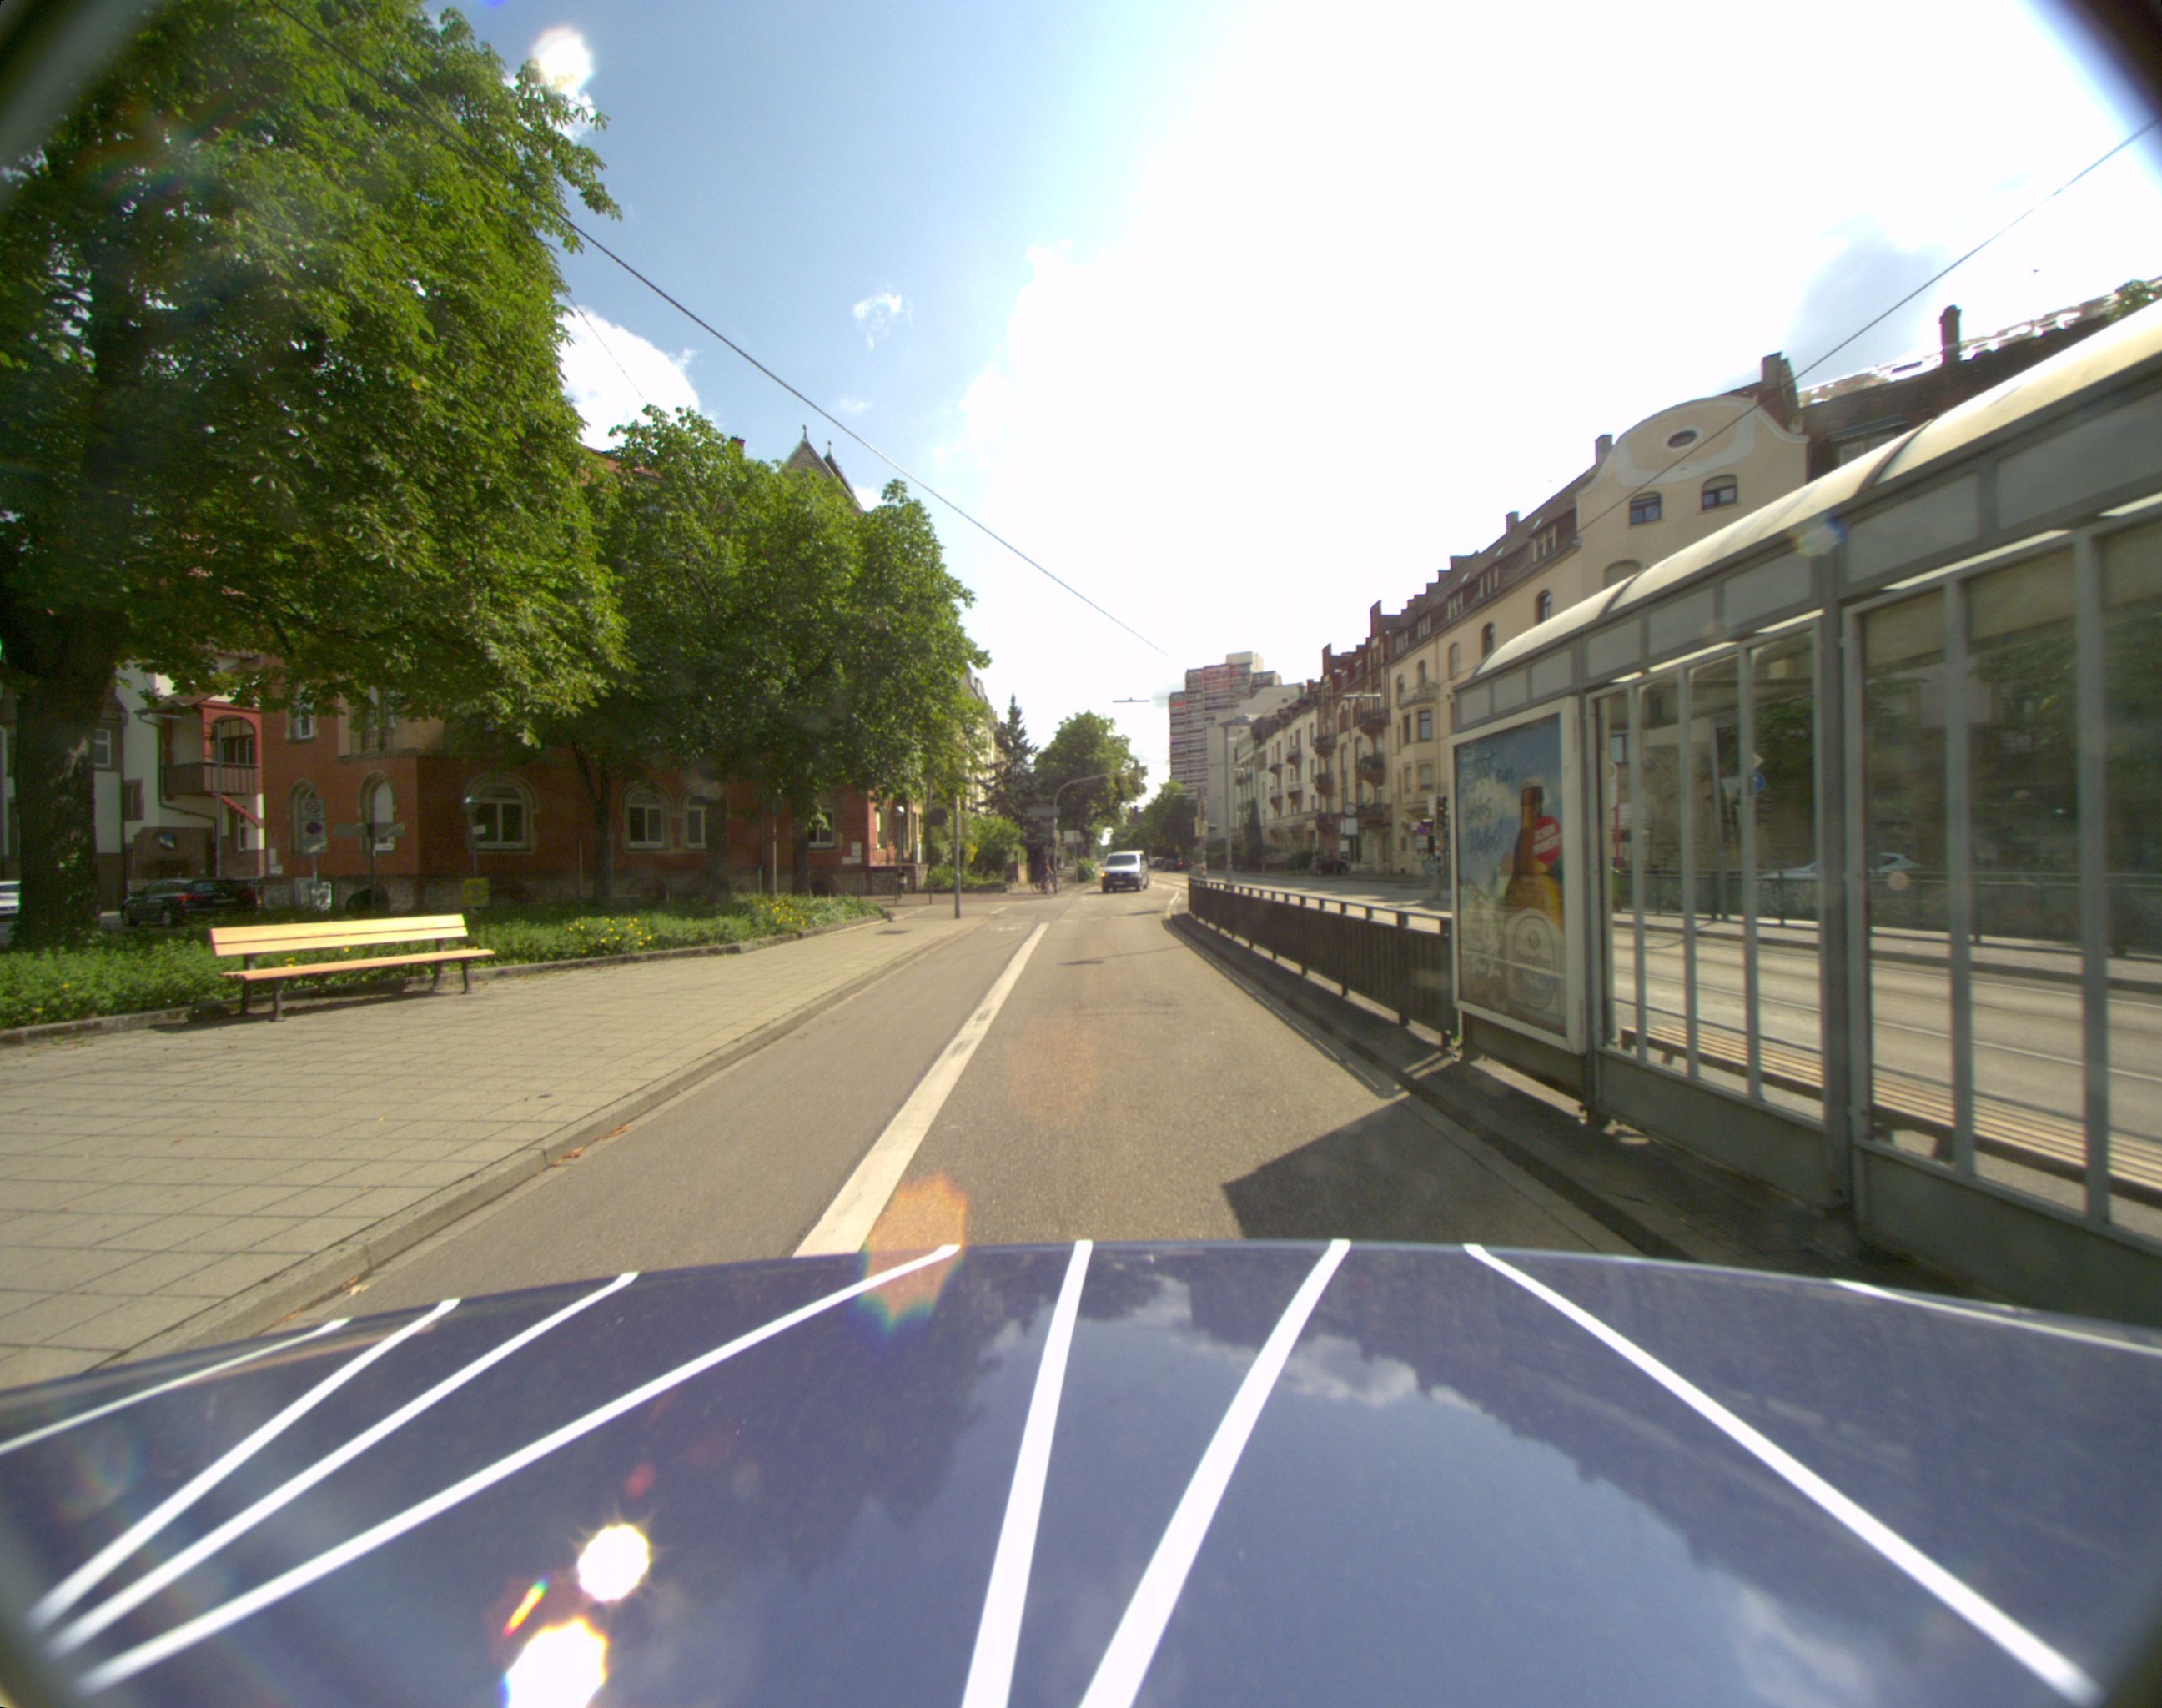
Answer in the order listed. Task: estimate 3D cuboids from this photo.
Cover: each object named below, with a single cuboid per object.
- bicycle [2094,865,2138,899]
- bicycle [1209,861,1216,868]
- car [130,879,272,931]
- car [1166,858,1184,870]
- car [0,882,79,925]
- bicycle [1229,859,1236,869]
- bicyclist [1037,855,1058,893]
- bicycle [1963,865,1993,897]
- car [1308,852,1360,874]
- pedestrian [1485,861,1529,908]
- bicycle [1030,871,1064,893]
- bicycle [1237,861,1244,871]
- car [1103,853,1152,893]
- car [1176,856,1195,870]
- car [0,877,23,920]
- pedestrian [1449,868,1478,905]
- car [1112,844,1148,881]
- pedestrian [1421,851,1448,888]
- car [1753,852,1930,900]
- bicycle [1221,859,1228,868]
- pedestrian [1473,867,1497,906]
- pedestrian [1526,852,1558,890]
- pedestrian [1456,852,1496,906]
[{"bbox_3d":[30.069,0.798,22.095,2.035,0.877,0.510,-3,1,-43],"label":"bicycle"},{"bbox_3d":[16.220,1.243,93.850,0.587,0.792,1.873,-4,0,5],"label":"bicycle"},{"bbox_3d":[-27.729,1.559,23.950,3.990,1.477,1.940,-1,0,26],"label":"car"},{"bbox_3d":[10.972,1.106,88.908,1.629,1.379,3.436,0,0,-1],"label":"car"},{"bbox_3d":[-40.529,1.849,29.060,3.990,1.477,1.874,-1,0,26],"label":"car"},{"bbox_3d":[16.617,1.058,83.186,0.539,1.024,1.873,-1,1,5],"label":"bicycle"},{"bbox_3d":[-1.621,0.965,36.517,0.736,1.808,0.819,-1,0,-22],"label":"bicyclist"},{"bbox_3d":[28.363,0.840,24.034,2.035,0.877,0.510,-3,1,-43],"label":"bicycle"},{"bbox_3d":[19.730,0.713,59.447,3.452,1.477,1.706,-3,0,2],"label":"car"},{"bbox_3d":[12.189,0.858,21.767,0.828,1.296,0.717,1,0,-4],"label":"pedestrian"},{"bbox_3d":[-1.635,1.341,36.542,1.849,1.029,0.389,0,0,-45],"label":"bicycle"},{"bbox_3d":[16.243,1.206,77.209,0.524,0.901,2.067,-1,2,8],"label":"bicycle"},{"bbox_3d":[2.429,0.900,38.340,1.830,1.855,4.850,-2,0,11],"label":"car"},{"bbox_3d":[13.811,1.178,100.764,1.796,1.701,4.331,-1,0,0],"label":"car"},{"bbox_3d":[-45.097,1.832,30.811,3.990,1.696,1.728,-1,0,24],"label":"car"},{"bbox_3d":[11.692,0.985,23.216,0.643,1.107,0.443,-1,0,-4],"label":"pedestrian"},{"bbox_3d":[3.587,0.616,56.904,2.168,2.572,5.663,-1,0,-2],"label":"car"},{"bbox_3d":[17.204,0.751,36.964,0.758,1.694,0.874,-5,0,0],"label":"pedestrian"},{"bbox_3d":[24.064,0.680,24.221,3.862,1.411,1.724,-1,0,44],"label":"car"},{"bbox_3d":[16.548,1.072,87.629,0.587,0.980,1.873,-1,1,5],"label":"bicycle"},{"bbox_3d":[11.675,0.947,21.986,0.438,1.101,0.423,1,0,-4],"label":"pedestrian"},{"bbox_3d":[19.591,0.699,32.308,0.695,1.532,0.963,-5,0,1],"label":"pedestrian"},{"bbox_3d":[11.744,0.721,22.594,0.730,1.556,0.799,-1,0,-4],"label":"pedestrian"}]
